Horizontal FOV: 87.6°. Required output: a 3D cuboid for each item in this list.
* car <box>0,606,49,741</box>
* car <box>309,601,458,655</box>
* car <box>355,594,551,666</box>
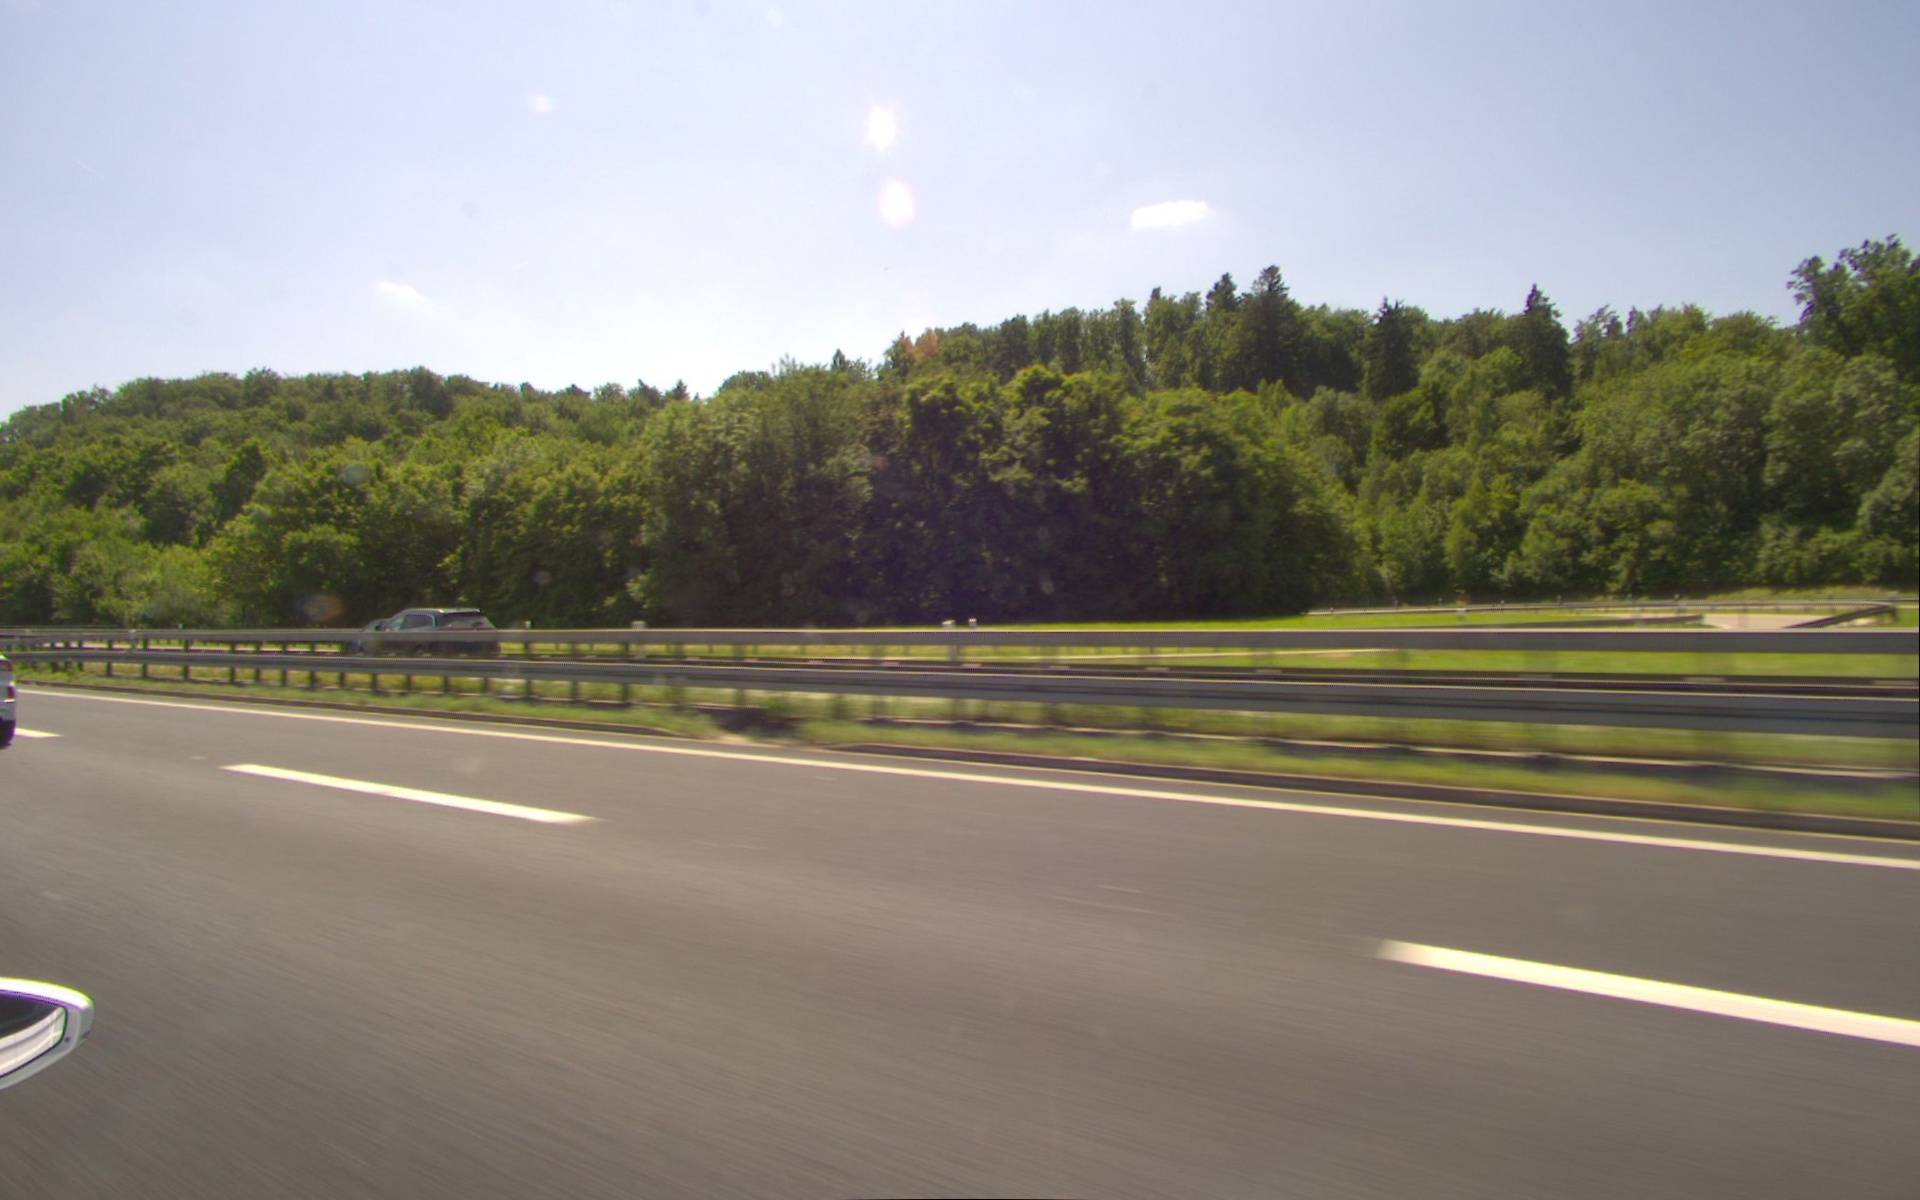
[{"bbox_3d":[-14.068,0.955,13.248,4.406,1.683,1.989,-1,-1,34],"label":"car"},{"bbox_3d":[-19.443,0.951,33.719,5.149,1.683,1.991,-1,-1,29],"label":"car"},{"bbox_3d":[-13.102,0.786,25.751,5.548,1.683,1.989,-1,-1,33],"label":"car"}]
